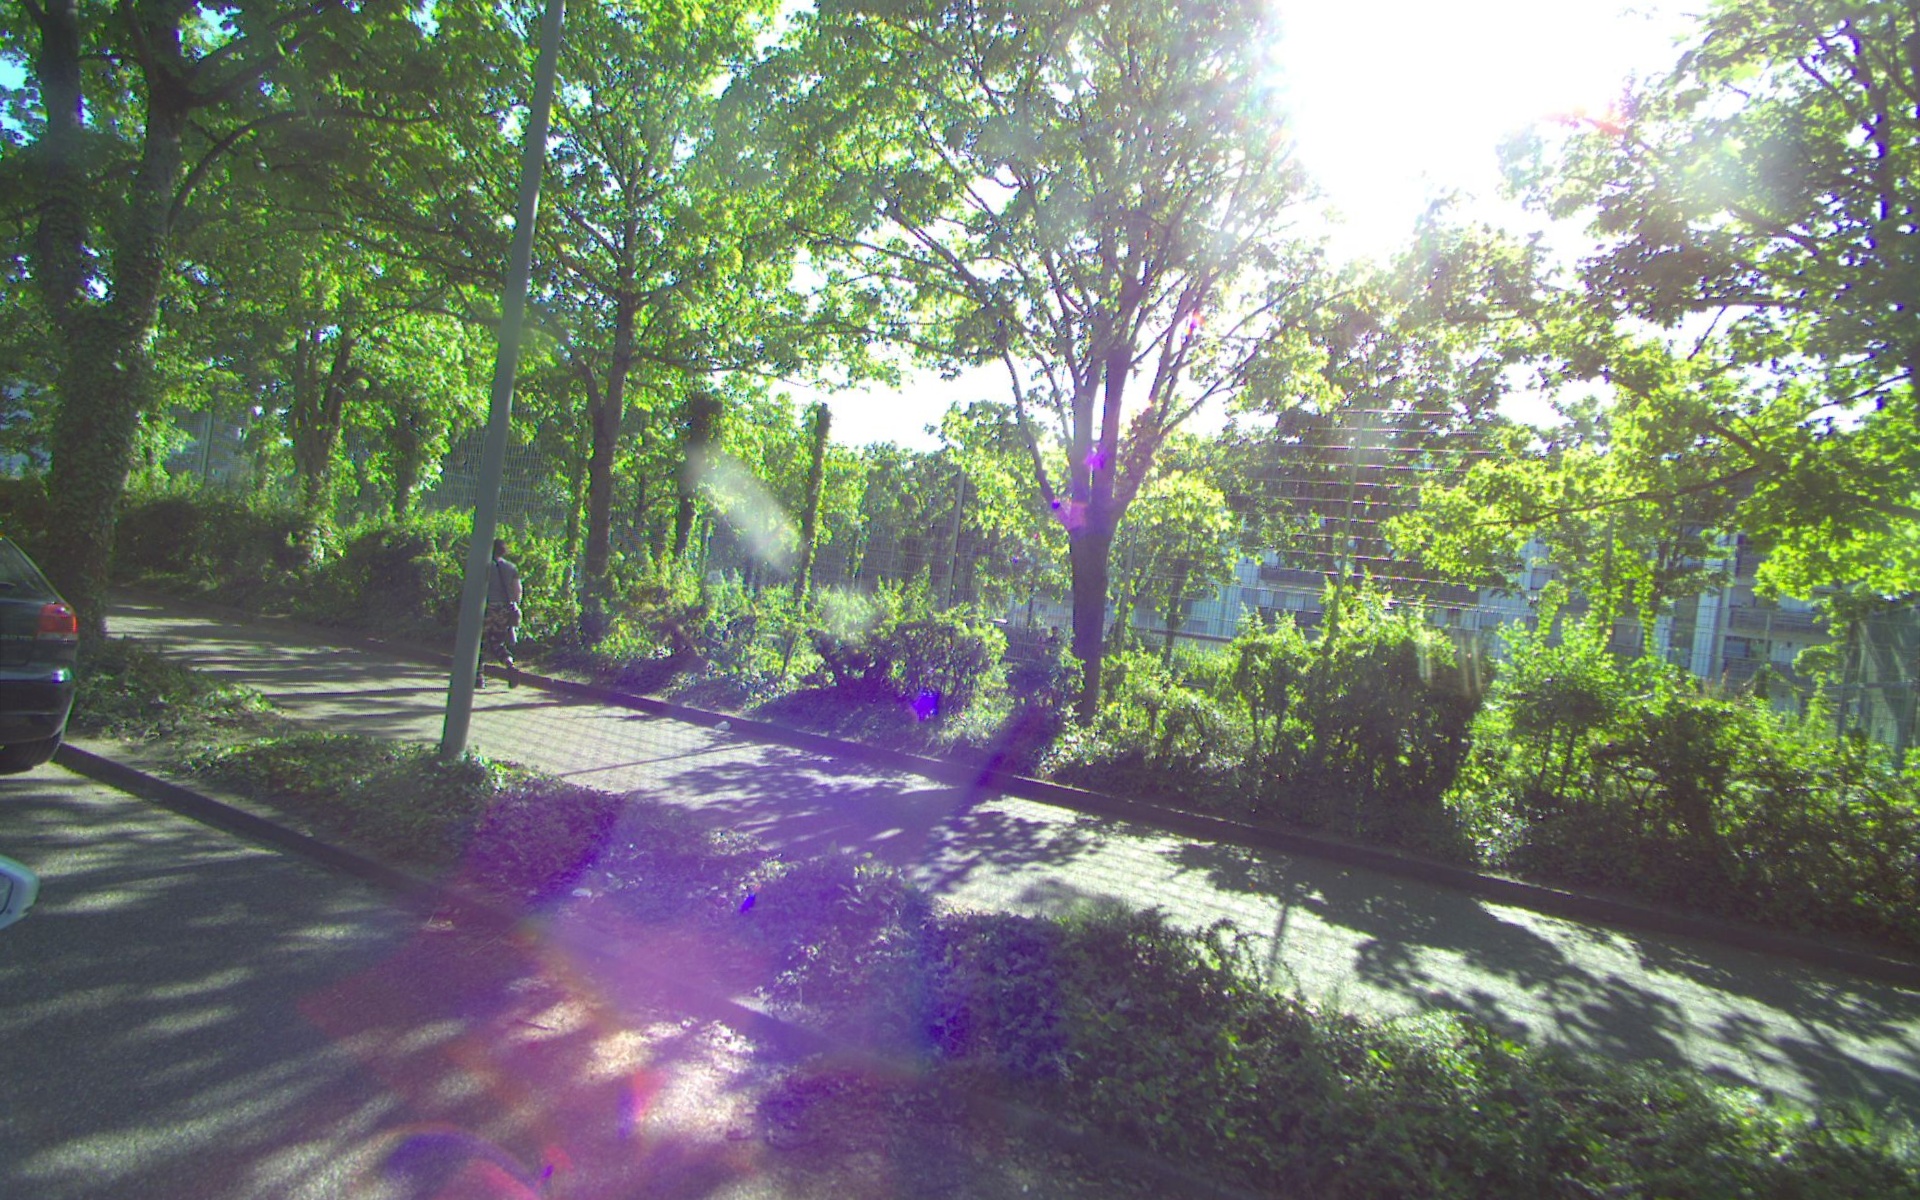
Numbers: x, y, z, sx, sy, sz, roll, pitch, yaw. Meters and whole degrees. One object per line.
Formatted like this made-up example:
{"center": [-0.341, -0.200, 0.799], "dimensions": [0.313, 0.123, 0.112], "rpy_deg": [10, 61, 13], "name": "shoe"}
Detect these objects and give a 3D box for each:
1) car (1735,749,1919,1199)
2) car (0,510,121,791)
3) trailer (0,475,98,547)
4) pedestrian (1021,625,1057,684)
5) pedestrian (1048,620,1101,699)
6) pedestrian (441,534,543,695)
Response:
{"center": [2.795, 1.130, 0.194], "dimensions": [3.962, 1.497, 1.753], "rpy_deg": [6, -2, 30], "name": "car"}
{"center": [-6.857, 0.013, 5.683], "dimensions": [3.929, 1.436, 1.645], "rpy_deg": [7, -2, 26], "name": "car"}
{"center": [-33.111, -3.194, 35.950], "dimensions": [1.582, 2.141, 2.951], "rpy_deg": [7, -1, 27], "name": "trailer"}
{"center": [2.056, 1.417, 26.262], "dimensions": [0.623, 1.437, 0.504], "rpy_deg": [9, -2, -17], "name": "pedestrian"}
{"center": [1.967, 1.018, 17.278], "dimensions": [0.555, 1.253, 0.542], "rpy_deg": [9, -2, -23], "name": "pedestrian"}
{"center": [-5.044, 0.155, 10.851], "dimensions": [0.661, 1.627, 0.571], "rpy_deg": [7, -1, 38], "name": "pedestrian"}
